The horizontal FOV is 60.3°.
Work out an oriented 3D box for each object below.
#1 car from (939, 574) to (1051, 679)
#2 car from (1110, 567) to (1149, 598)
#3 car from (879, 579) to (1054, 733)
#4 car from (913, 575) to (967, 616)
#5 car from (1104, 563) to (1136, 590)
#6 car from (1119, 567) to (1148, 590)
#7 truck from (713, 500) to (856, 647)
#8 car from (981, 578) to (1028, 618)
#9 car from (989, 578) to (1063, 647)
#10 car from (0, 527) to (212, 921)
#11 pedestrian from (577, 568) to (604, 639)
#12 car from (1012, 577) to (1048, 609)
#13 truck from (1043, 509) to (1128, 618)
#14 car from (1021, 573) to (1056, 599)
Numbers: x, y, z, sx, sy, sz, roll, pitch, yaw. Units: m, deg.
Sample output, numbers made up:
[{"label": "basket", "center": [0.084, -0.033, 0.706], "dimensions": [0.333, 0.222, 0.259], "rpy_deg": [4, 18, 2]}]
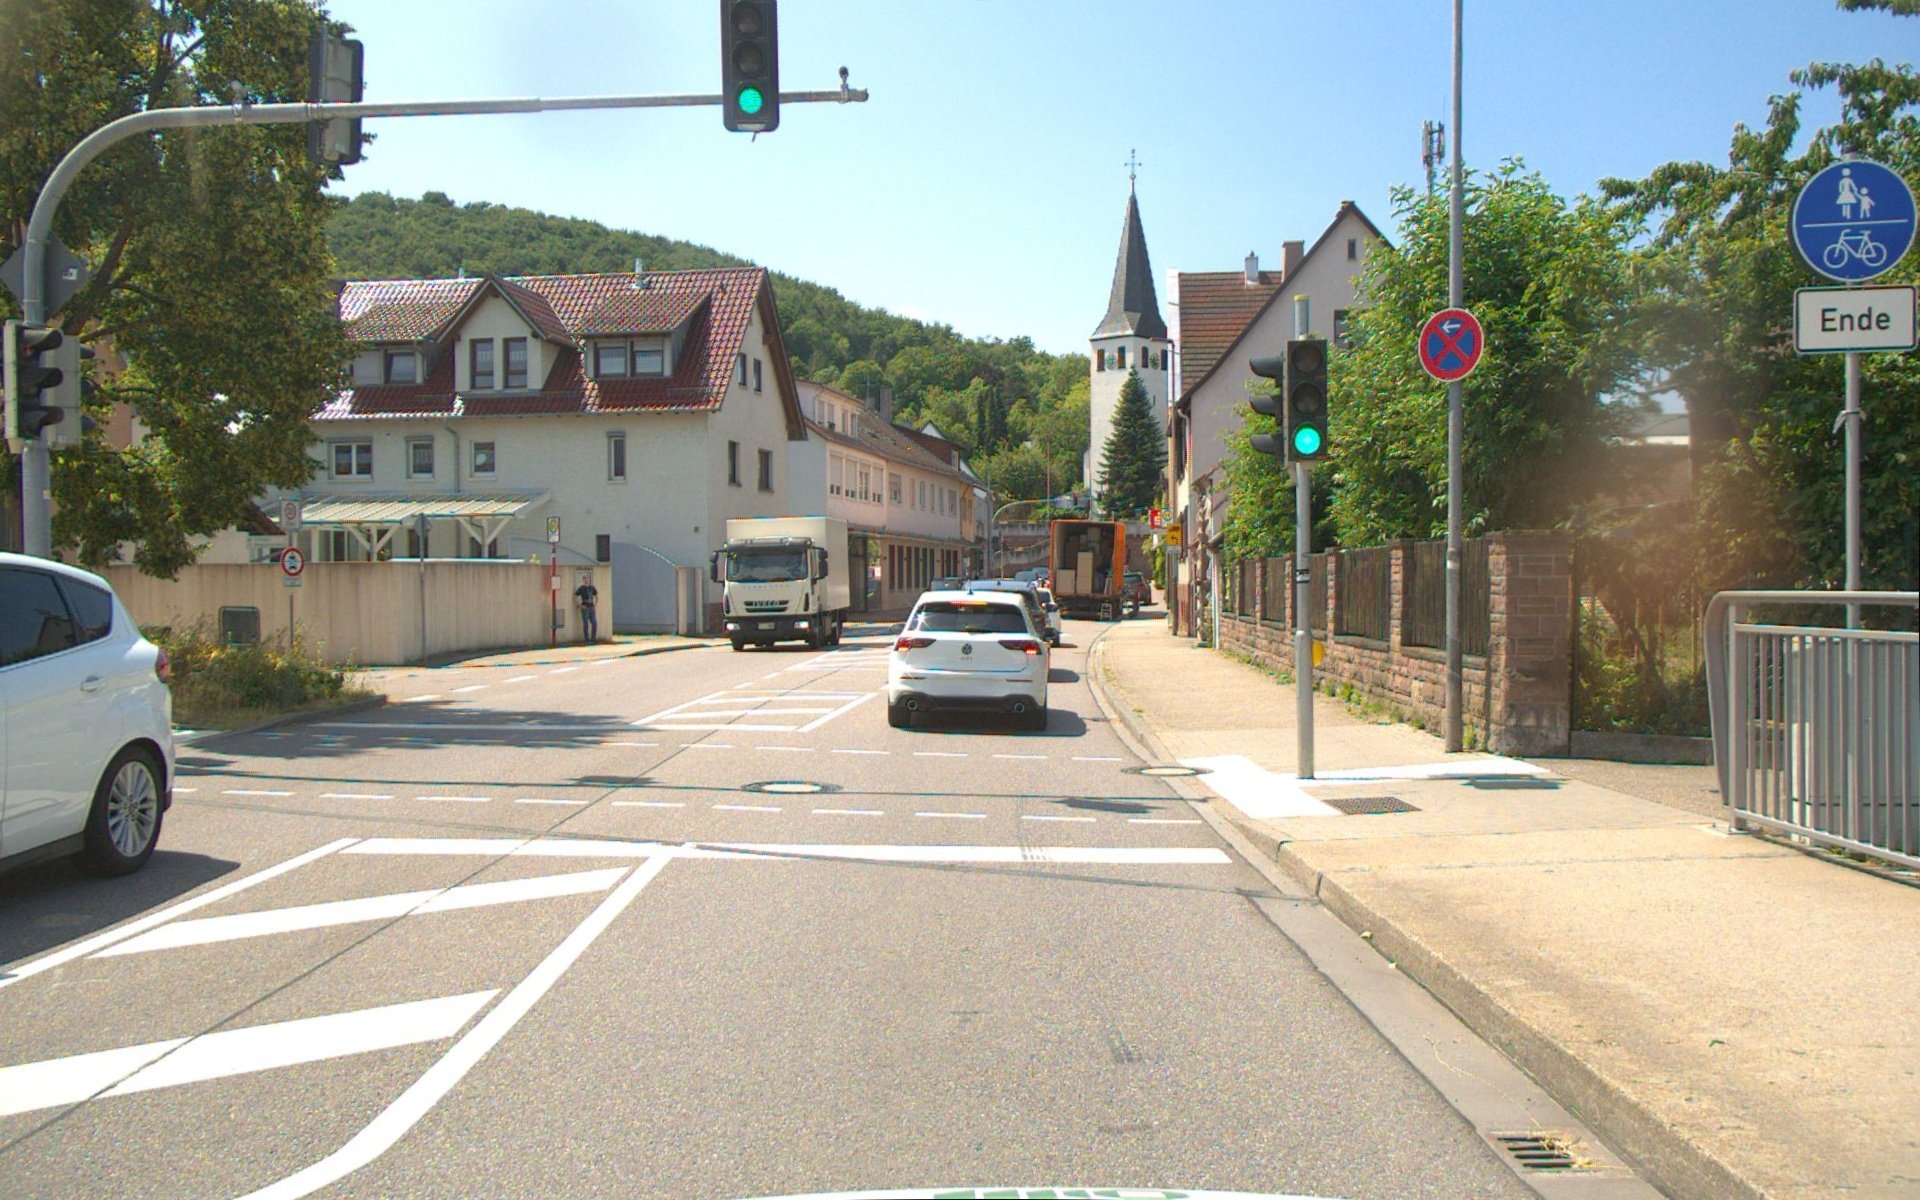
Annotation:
[{"label": "car", "center": [0.678, 0.428, 28.833], "dimensions": [1.777, 1.657, 4.001], "rpy_deg": [-1, 0, 3]}, {"label": "car", "center": [8.781, -0.899, 85.710], "dimensions": [1.777, 1.545, 4.001], "rpy_deg": [-1, 0, 3]}, {"label": "car", "center": [0.167, 0.572, 18.968], "dimensions": [1.777, 1.545, 4.001], "rpy_deg": [1, 0, 3]}, {"label": "car", "center": [-0.816, -0.211, 70.169], "dimensions": [1.701, 1.680, 3.672], "rpy_deg": [0, 1, 9]}, {"label": "car", "center": [9.780, -1.436, 101.318], "dimensions": [1.777, 1.545, 4.001], "rpy_deg": [-1, 0, 3]}, {"label": "car", "center": [12.212, -1.503, 116.485], "dimensions": [1.777, 1.545, 4.001], "rpy_deg": [-1, 0, 3]}, {"label": "truck", "center": [-4.186, -0.599, 40.575], "dimensions": [2.449, 3.292, 6.043], "rpy_deg": [-1, 0, 3]}, {"label": "car", "center": [1.866, -0.093, 68.164], "dimensions": [1.777, 1.545, 4.001], "rpy_deg": [-1, 0, 3]}, {"label": "car", "center": [1.741, 0.313, 43.009], "dimensions": [1.777, 1.657, 4.001], "rpy_deg": [-1, 0, 3]}, {"label": "car", "center": [-4.982, 0.516, 6.840], "dimensions": [1.777, 1.678, 4.001], "rpy_deg": [1, 0, 3]}, {"label": "pedestrian", "center": [-9.324, 0.085, 41.740], "dimensions": [0.425, 1.795, 0.557], "rpy_deg": [-1, 0, 22]}, {"label": "car", "center": [3.644, -0.354, 85.578], "dimensions": [1.777, 1.545, 4.001], "rpy_deg": [-1, 0, 3]}, {"label": "truck", "center": [5.455, -1.459, 70.944], "dimensions": [3.296, 4.243, 9.525], "rpy_deg": [-1, 0, 5]}, {"label": "car", "center": [4.862, -0.850, 102.089], "dimensions": [1.757, 1.534, 4.137], "rpy_deg": [-1, 0, 7]}]
